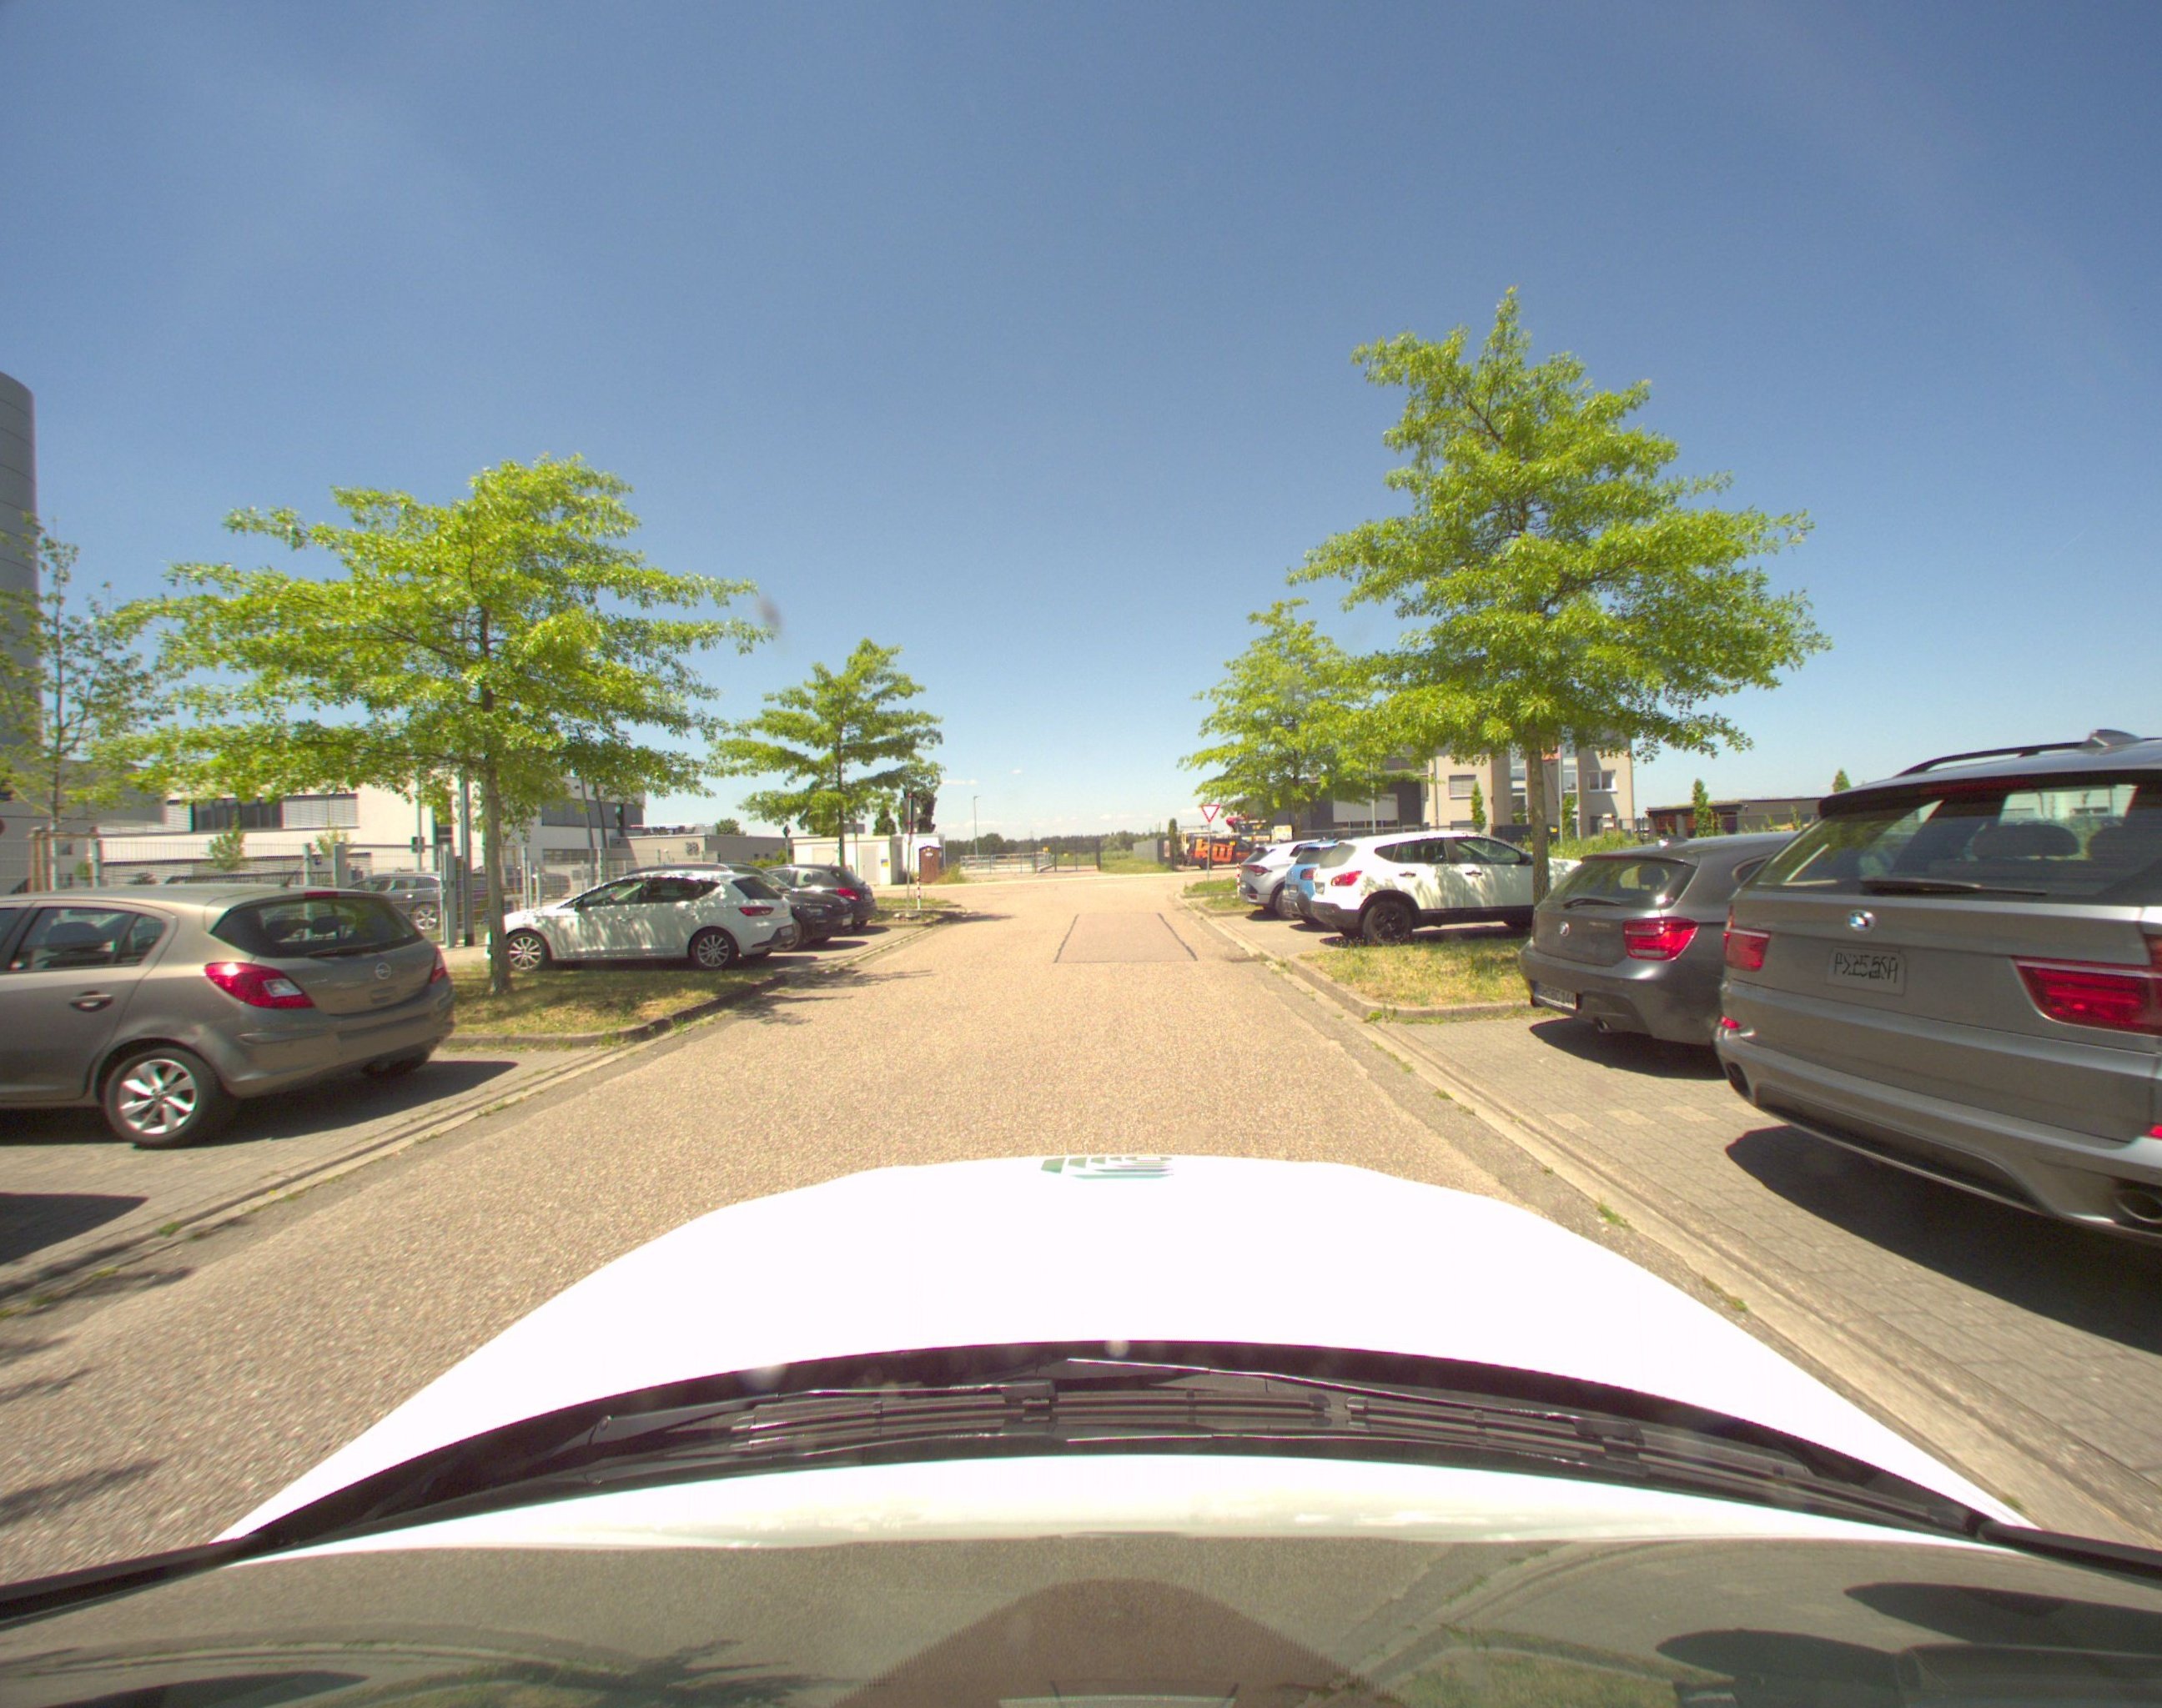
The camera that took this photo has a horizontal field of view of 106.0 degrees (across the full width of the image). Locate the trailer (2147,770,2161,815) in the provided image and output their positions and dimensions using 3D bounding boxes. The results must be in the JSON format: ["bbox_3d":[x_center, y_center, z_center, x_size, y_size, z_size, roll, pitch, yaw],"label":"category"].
[{"bbox_3d":[64.884,-3.688,46.904,3.974,2.600,2.233,-3,0,0],"label":"trailer"}]

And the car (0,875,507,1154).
[{"bbox_3d":[-6.328,0.944,5.471,3.647,1.508,1.730,-1,0,-2],"label":"car"}]

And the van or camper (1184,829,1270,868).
[{"bbox_3d":[8.992,-0.360,50.453,4.919,2.163,2.001,-3,1,1],"label":"van or camper"}]

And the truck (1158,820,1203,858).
[{"bbox_3d":[8.209,-1.230,68.126,2.911,2.937,6.938,-3,0,1],"label":"truck"}]

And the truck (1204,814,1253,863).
[{"bbox_3d":[12.639,-1.325,70.421,2.911,3.929,6.938,-3,0,1],"label":"truck"}]

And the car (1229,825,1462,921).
[{"bbox_3d":[5.441,0.376,17.187,4.263,1.644,1.852,-4,0,2],"label":"car"}]

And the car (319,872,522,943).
[{"bbox_3d":[-15.935,1.270,19.770,3.467,1.390,1.678,-3,0,1],"label":"car"}]

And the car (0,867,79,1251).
[{"bbox_3d":[-6.487,0.896,2.867,3.723,1.621,1.818,-1,0,2],"label":"car"}]

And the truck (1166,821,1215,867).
[{"bbox_3d":[7.948,-0.735,59.825,2.717,3.061,6.938,-3,0,1],"label":"truck"}]

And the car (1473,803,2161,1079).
[{"bbox_3d":[5.121,0.491,5.578,3.908,1.409,1.910,-3,-1,1],"label":"car"}]

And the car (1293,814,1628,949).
[{"bbox_3d":[5.458,0.393,12.175,4.052,1.607,1.902,-4,-1,2],"label":"car"}]

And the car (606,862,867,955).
[{"bbox_3d":[-6.069,0.929,14.702,3.916,1.520,1.784,0,0,-1],"label":"car"}]

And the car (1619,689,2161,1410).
[{"bbox_3d":[4.830,0.340,2.921,4.435,1.768,1.992,-4,0,-1],"label":"car"}]

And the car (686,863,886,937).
[{"bbox_3d":[-6.176,0.942,17.379,3.615,1.436,1.725,0,0,-1],"label":"car"}]

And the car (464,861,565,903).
[{"bbox_3d":[-31.172,1.512,44.901,3.977,2.013,1.999,-3,1,-2],"label":"car"}]

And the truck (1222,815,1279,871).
[{"bbox_3d":[12.854,-0.821,62.420,2.911,3.929,6.938,-3,0,1],"label":"truck"}]

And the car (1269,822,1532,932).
[{"bbox_3d":[5.618,0.386,14.701,3.973,1.644,1.838,-3,0,1],"label":"car"}]

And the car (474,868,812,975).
[{"bbox_3d":[-6.441,0.957,12.362,4.065,1.424,1.872,0,0,-2],"label":"car"}]
